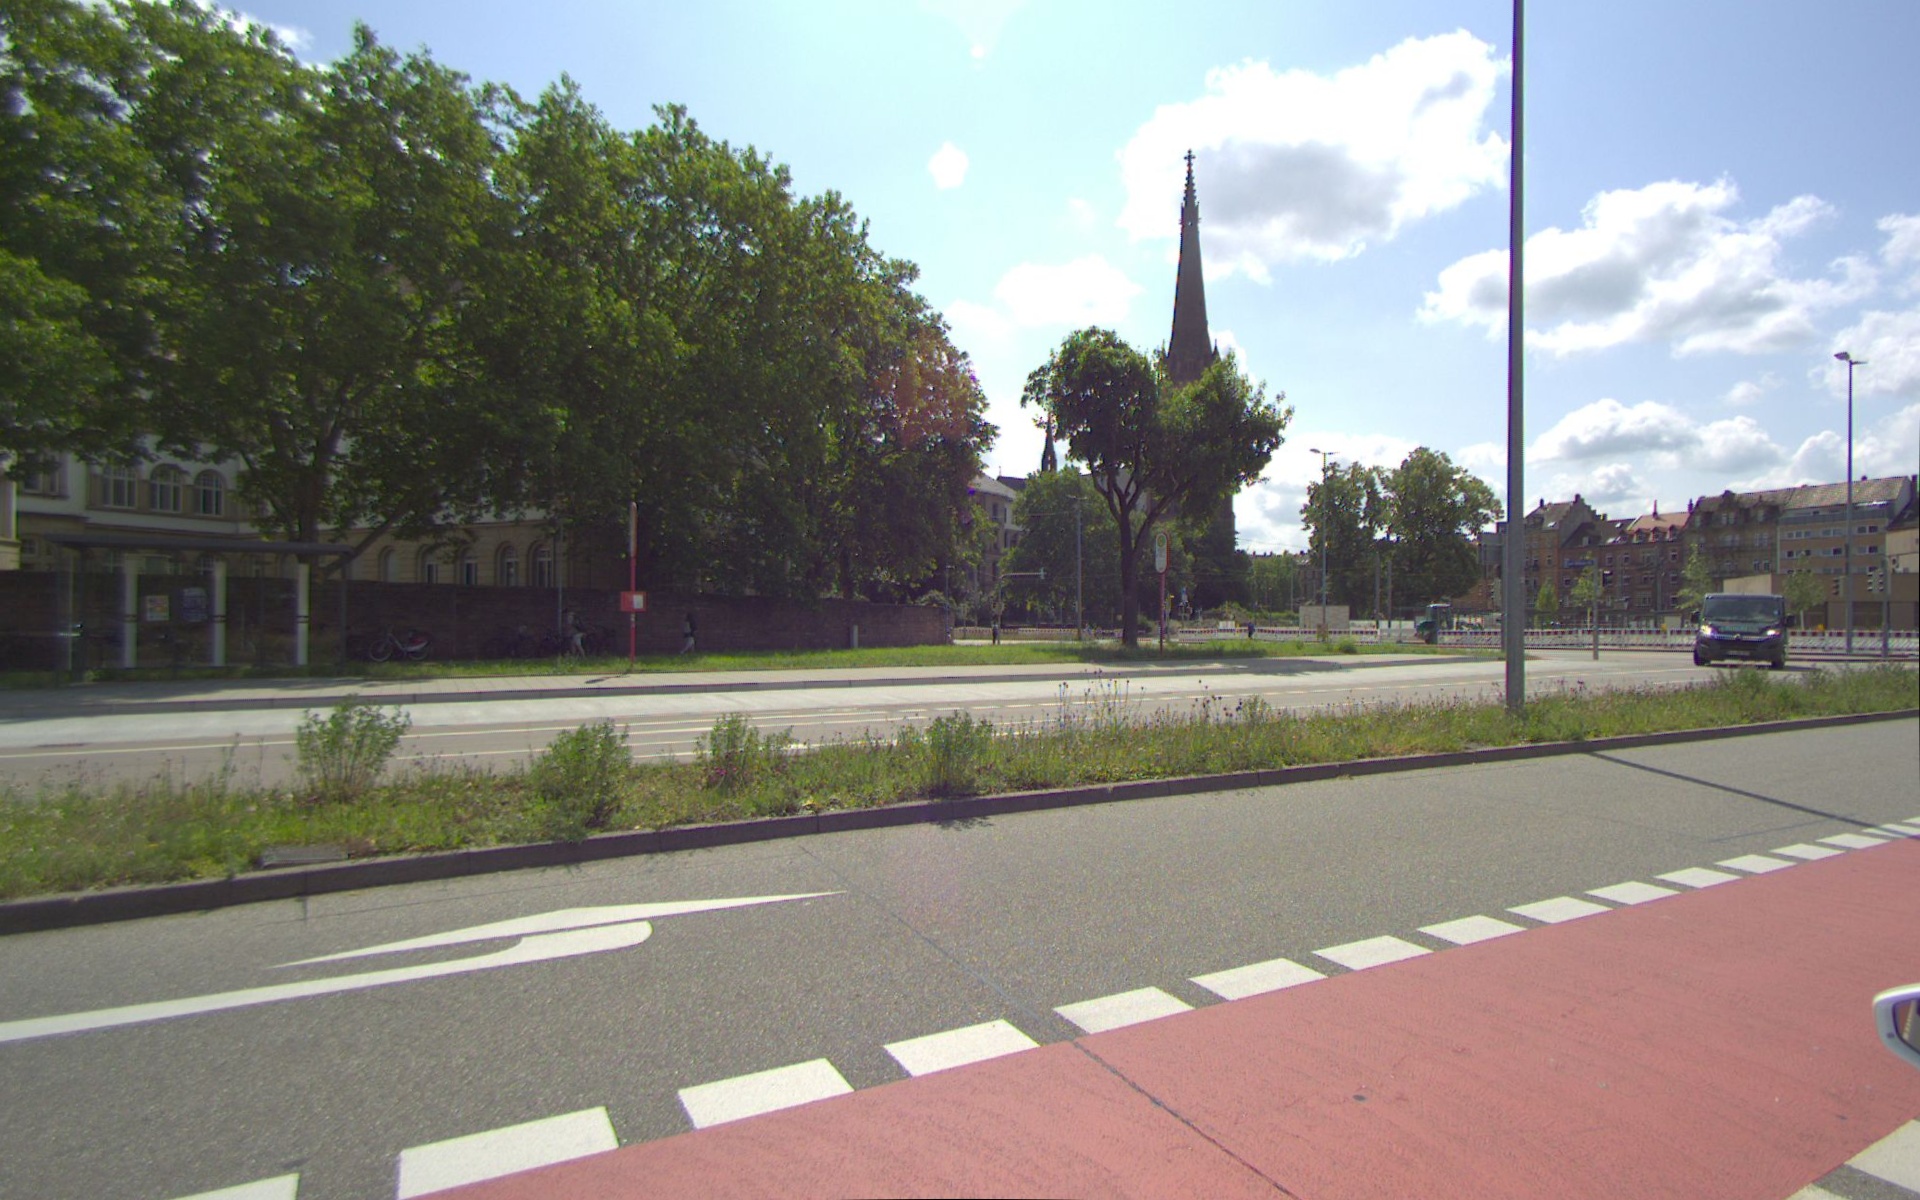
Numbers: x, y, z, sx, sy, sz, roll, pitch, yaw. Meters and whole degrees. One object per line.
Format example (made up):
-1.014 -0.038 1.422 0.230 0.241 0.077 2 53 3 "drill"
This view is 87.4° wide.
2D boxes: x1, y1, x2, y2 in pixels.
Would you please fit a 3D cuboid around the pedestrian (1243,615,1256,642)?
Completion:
21.941 2.135 76.126 0.625 2.040 0.643 1 -1 -32 "pedestrian"

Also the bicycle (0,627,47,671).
-21.252 1.088 22.324 0.260 0.977 1.391 0 -1 36 "bicycle"

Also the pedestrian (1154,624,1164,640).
21.601 3.493 108.895 0.842 1.685 0.751 0 -1 29 "pedestrian"

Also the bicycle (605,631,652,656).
-11.771 1.532 35.682 0.324 0.828 1.743 0 -1 36 "bicycle"

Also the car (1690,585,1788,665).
23.553 0.798 30.461 2.121 2.204 4.999 -3 -3 37 "car"

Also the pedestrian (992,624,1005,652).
2.851 2.806 74.705 0.713 2.040 0.721 1 -1 -32 "pedestrian"

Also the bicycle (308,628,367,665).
-17.155 1.263 27.716 0.260 0.977 1.391 0 -1 36 "bicycle"

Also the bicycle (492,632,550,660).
-14.042 1.459 32.162 0.378 0.828 1.743 0 -1 36 "bicycle"

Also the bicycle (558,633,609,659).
-12.776 1.549 34.155 0.324 0.828 1.743 0 -1 36 "bicycle"

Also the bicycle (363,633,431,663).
-16.235 1.377 29.013 0.324 0.828 1.743 0 -1 36 "bicycle"

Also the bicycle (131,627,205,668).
-19.412 1.155 24.645 0.260 0.977 1.391 0 -1 36 "bicycle"

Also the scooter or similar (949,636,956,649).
-0.435 2.473 58.984 0.117 0.721 1.005 0 -1 17 "scooter or similar"

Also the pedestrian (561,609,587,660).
-11.422 1.026 29.752 0.627 1.492 0.506 1 -1 -32 "pedestrian"

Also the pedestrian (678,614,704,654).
-9.596 1.206 35.814 0.720 1.413 0.714 1 -1 -35 "pedestrian"
